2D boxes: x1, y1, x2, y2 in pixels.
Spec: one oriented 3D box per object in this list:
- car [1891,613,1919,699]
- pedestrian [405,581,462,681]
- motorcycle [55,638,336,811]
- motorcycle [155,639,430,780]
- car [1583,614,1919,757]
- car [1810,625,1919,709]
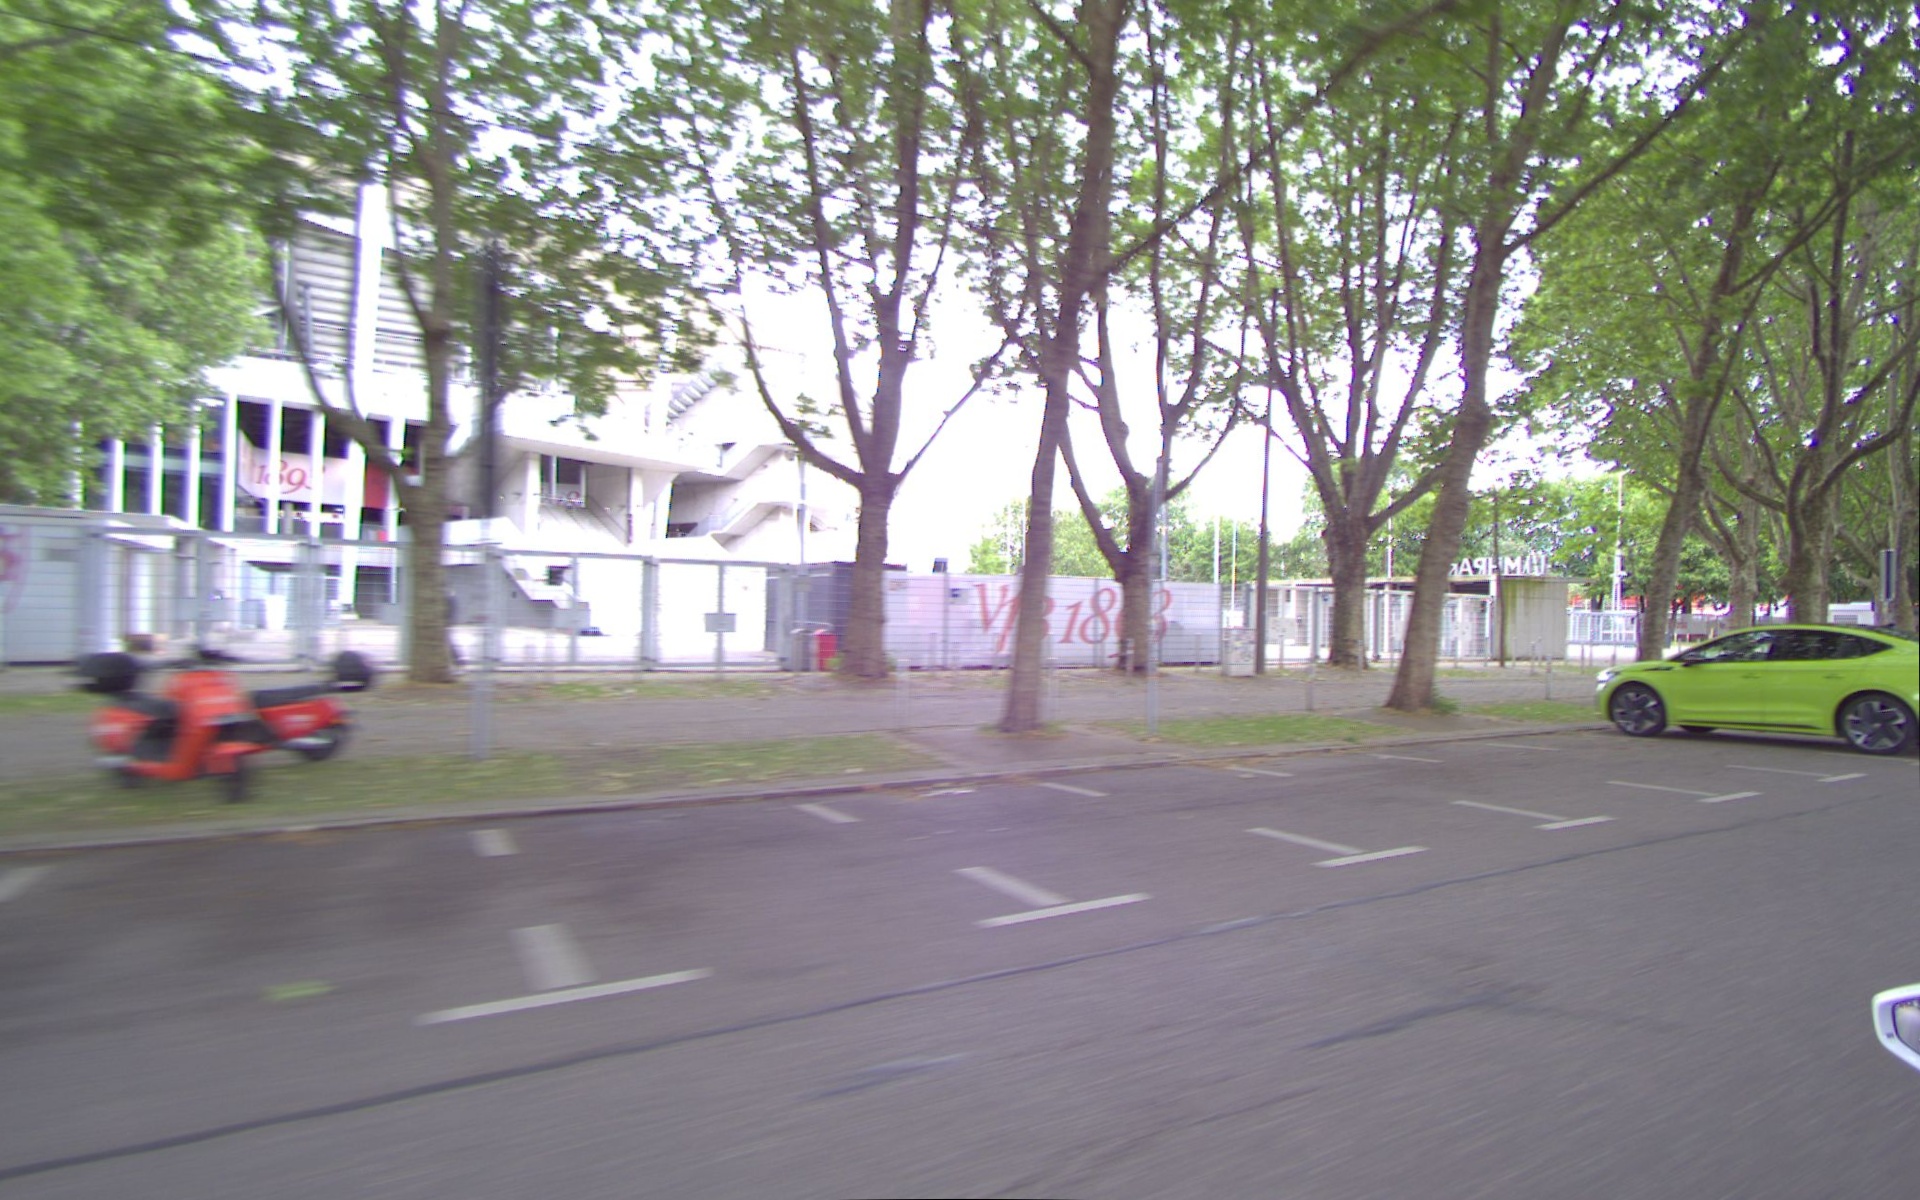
[{"bbox_3d":[23.539,1.240,21.696,1.997,1.949,4.732,1,-2,-34],"label":"car"},{"bbox_3d":[-9.646,0.556,18.398,0.864,1.777,0.700,1,1,-31],"label":"pedestrian"},{"bbox_3d":[-6.002,0.935,7.893,2.035,1.173,0.575,2,1,13],"label":"motorcycle"},{"bbox_3d":[-6.126,0.963,9.351,2.054,1.173,0.570,1,1,-33],"label":"motorcycle"},{"bbox_3d":[11.272,1.046,13.692,1.735,1.639,4.499,1,-1,-27],"label":"car"},{"bbox_3d":[19.193,1.282,19.286,1.740,1.589,4.080,1,-3,-34],"label":"car"}]
